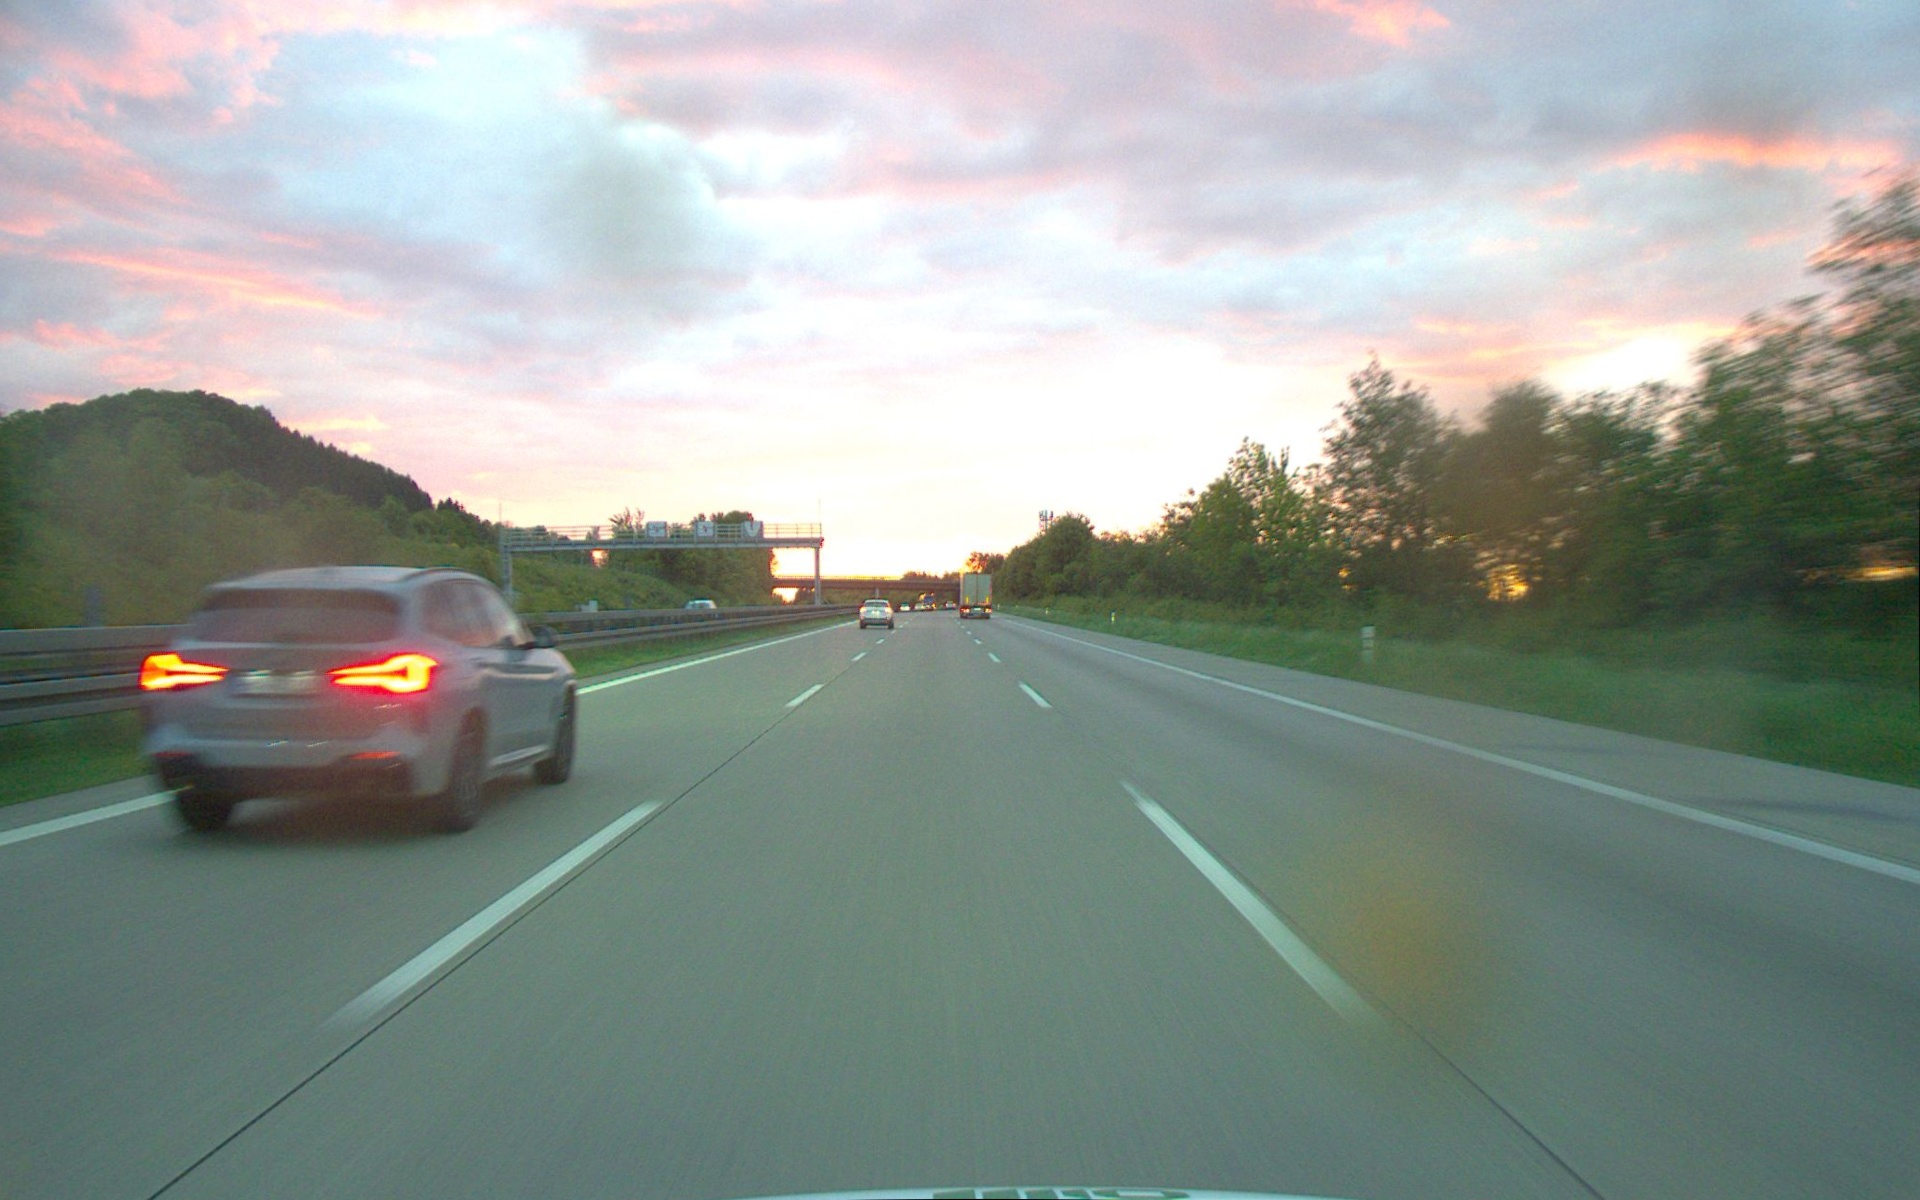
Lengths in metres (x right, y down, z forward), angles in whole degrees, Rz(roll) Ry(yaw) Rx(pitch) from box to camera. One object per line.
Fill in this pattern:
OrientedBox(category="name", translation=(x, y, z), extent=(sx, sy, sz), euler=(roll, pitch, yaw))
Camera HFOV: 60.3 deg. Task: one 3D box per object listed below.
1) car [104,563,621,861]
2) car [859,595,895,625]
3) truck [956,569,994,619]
OrientedBox(category="car", translation=(-3.983, 0.638, 12.251), extent=(1.851, 1.689, 5.638), euler=(0, 0, -1))
OrientedBox(category="car", translation=(-4.489, 0.541, 89.809), extent=(1.753, 1.527, 5.036), euler=(1, 0, -1))
OrientedBox(category="truck", translation=(1.318, -0.543, 146.067), extent=(3.178, 4.199, 9.786), euler=(-1, 0, 0))
